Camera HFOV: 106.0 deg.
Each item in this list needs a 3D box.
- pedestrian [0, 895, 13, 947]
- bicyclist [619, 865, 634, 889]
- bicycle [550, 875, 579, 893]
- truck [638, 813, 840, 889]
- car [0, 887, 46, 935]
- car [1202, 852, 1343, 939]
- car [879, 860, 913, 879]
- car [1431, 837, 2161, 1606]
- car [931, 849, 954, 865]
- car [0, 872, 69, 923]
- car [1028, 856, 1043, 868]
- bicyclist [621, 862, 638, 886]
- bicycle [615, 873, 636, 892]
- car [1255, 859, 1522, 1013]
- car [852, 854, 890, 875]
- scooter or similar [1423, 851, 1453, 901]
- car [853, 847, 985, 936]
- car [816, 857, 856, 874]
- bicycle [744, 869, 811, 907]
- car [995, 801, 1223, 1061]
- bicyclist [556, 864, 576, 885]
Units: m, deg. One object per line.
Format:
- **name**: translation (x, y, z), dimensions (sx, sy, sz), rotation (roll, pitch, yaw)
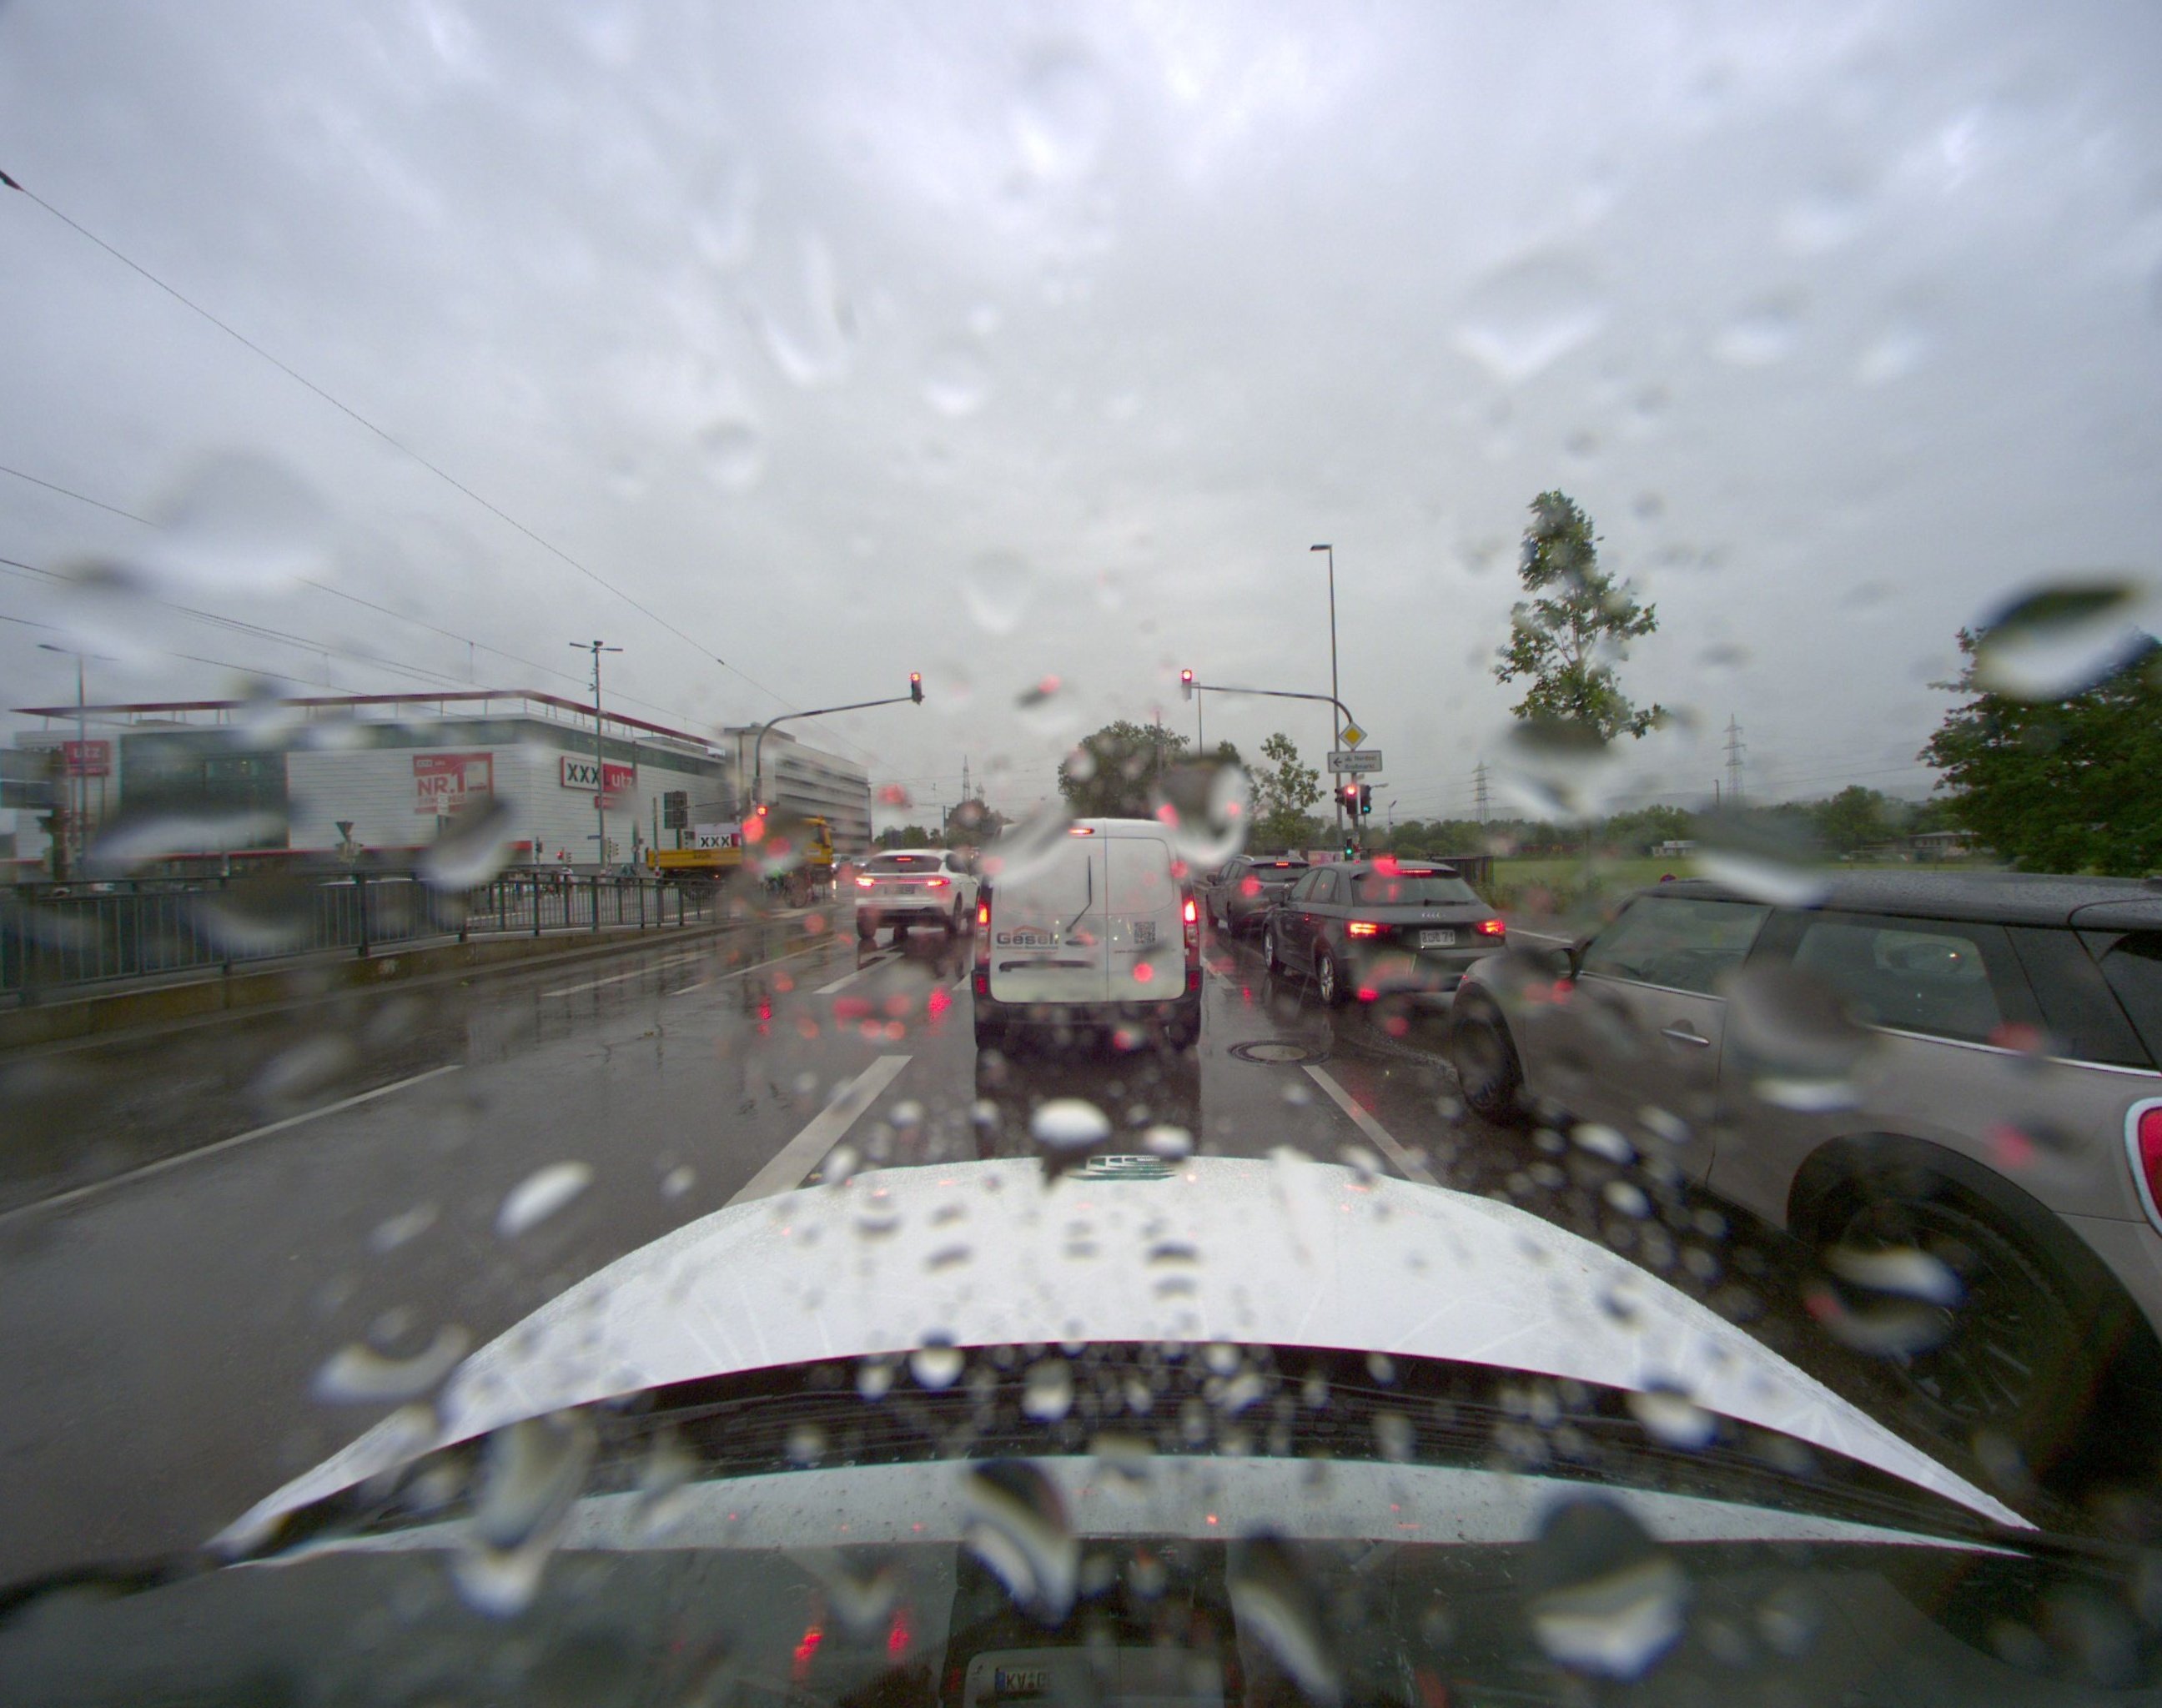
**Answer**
- **pedestrian**: translation (-32.495, 2.010, 24.117), dimensions (0.561, 1.537, 0.872), rotation (0, -1, 1)
- **bicyclist**: translation (-26.609, 1.339, 47.674), dimensions (0.531, 1.399, 0.650), rotation (0, -1, -1)
- **bicycle**: translation (-28.751, 1.658, 45.357), dimensions (0.448, 0.987, 1.710), rotation (0, -1, 3)
- **truck**: translation (-13.408, -0.117, 32.494), dimensions (7.145, 2.816, 2.624), rotation (-1, -1, -20)
- **car**: translation (-40.875, 2.095, 29.471), dimensions (3.979, 1.688, 1.997), rotation (0, -1, -5)
- **car**: translation (3.494, 0.690, 15.562), dimensions (1.853, 1.428, 3.808), rotation (0, 0, 1)
- **car**: translation (-17.659, 1.454, 78.035), dimensions (1.919, 1.827, 4.007), rotation (0, -1, 6)
- **car**: translation (2.992, 0.714, 3.213), dimensions (1.707, 1.508, 3.624), rotation (0, 0, 1)
- **car**: translation (-17.756, 0.445, 104.648), dimensions (1.985, 2.014, 4.004), rotation (0, -1, 3)
- **car**: translation (-44.740, 1.756, 33.265), dimensions (4.298, 2.014, 2.001), rotation (0, -1, 1)
- **car**: translation (-5.904, 1.050, 105.781), dimensions (1.613, 1.503, 3.705), rotation (0, -1, -8)
- **bicyclist**: translation (-27.656, 1.215, 49.925), dimensions (0.681, 1.464, 0.647), rotation (0, -1, 3)
- **bicycle**: translation (-26.585, 1.663, 47.546), dimensions (0.409, 1.061, 1.509), rotation (0, -1, 1)
- **car**: translation (3.089, 0.735, 8.981), dimensions (1.623, 1.344, 3.624), rotation (0, 0, 1)
- **car**: translation (-18.268, 0.909, 70.978), dimensions (1.883, 1.699, 4.006), rotation (0, -1, 6)
- **scooter or similar**: translation (8.490, 0.514, 19.418), dimensions (0.244, 1.158, 1.187), rotation (0, -1, 3)
- **car**: translation (-3.082, 0.644, 16.351), dimensions (1.723, 1.535, 4.298), rotation (0, 0, 1)
- **car**: translation (-19.132, 0.896, 63.777), dimensions (1.579, 1.336, 3.837), rotation (0, -1, 6)
- **bicycle**: translation (-8.847, 0.997, 23.791), dimensions (1.745, 1.034, 0.414), rotation (2, -1, 0)
- **car**: translation (0.262, 0.545, 7.680), dimensions (1.560, 1.788, 4.002), rotation (-1, 0, 2)
- **bicyclist**: translation (-28.727, 1.157, 45.456), dimensions (0.681, 1.134, 0.647), rotation (0, -1, 3)
